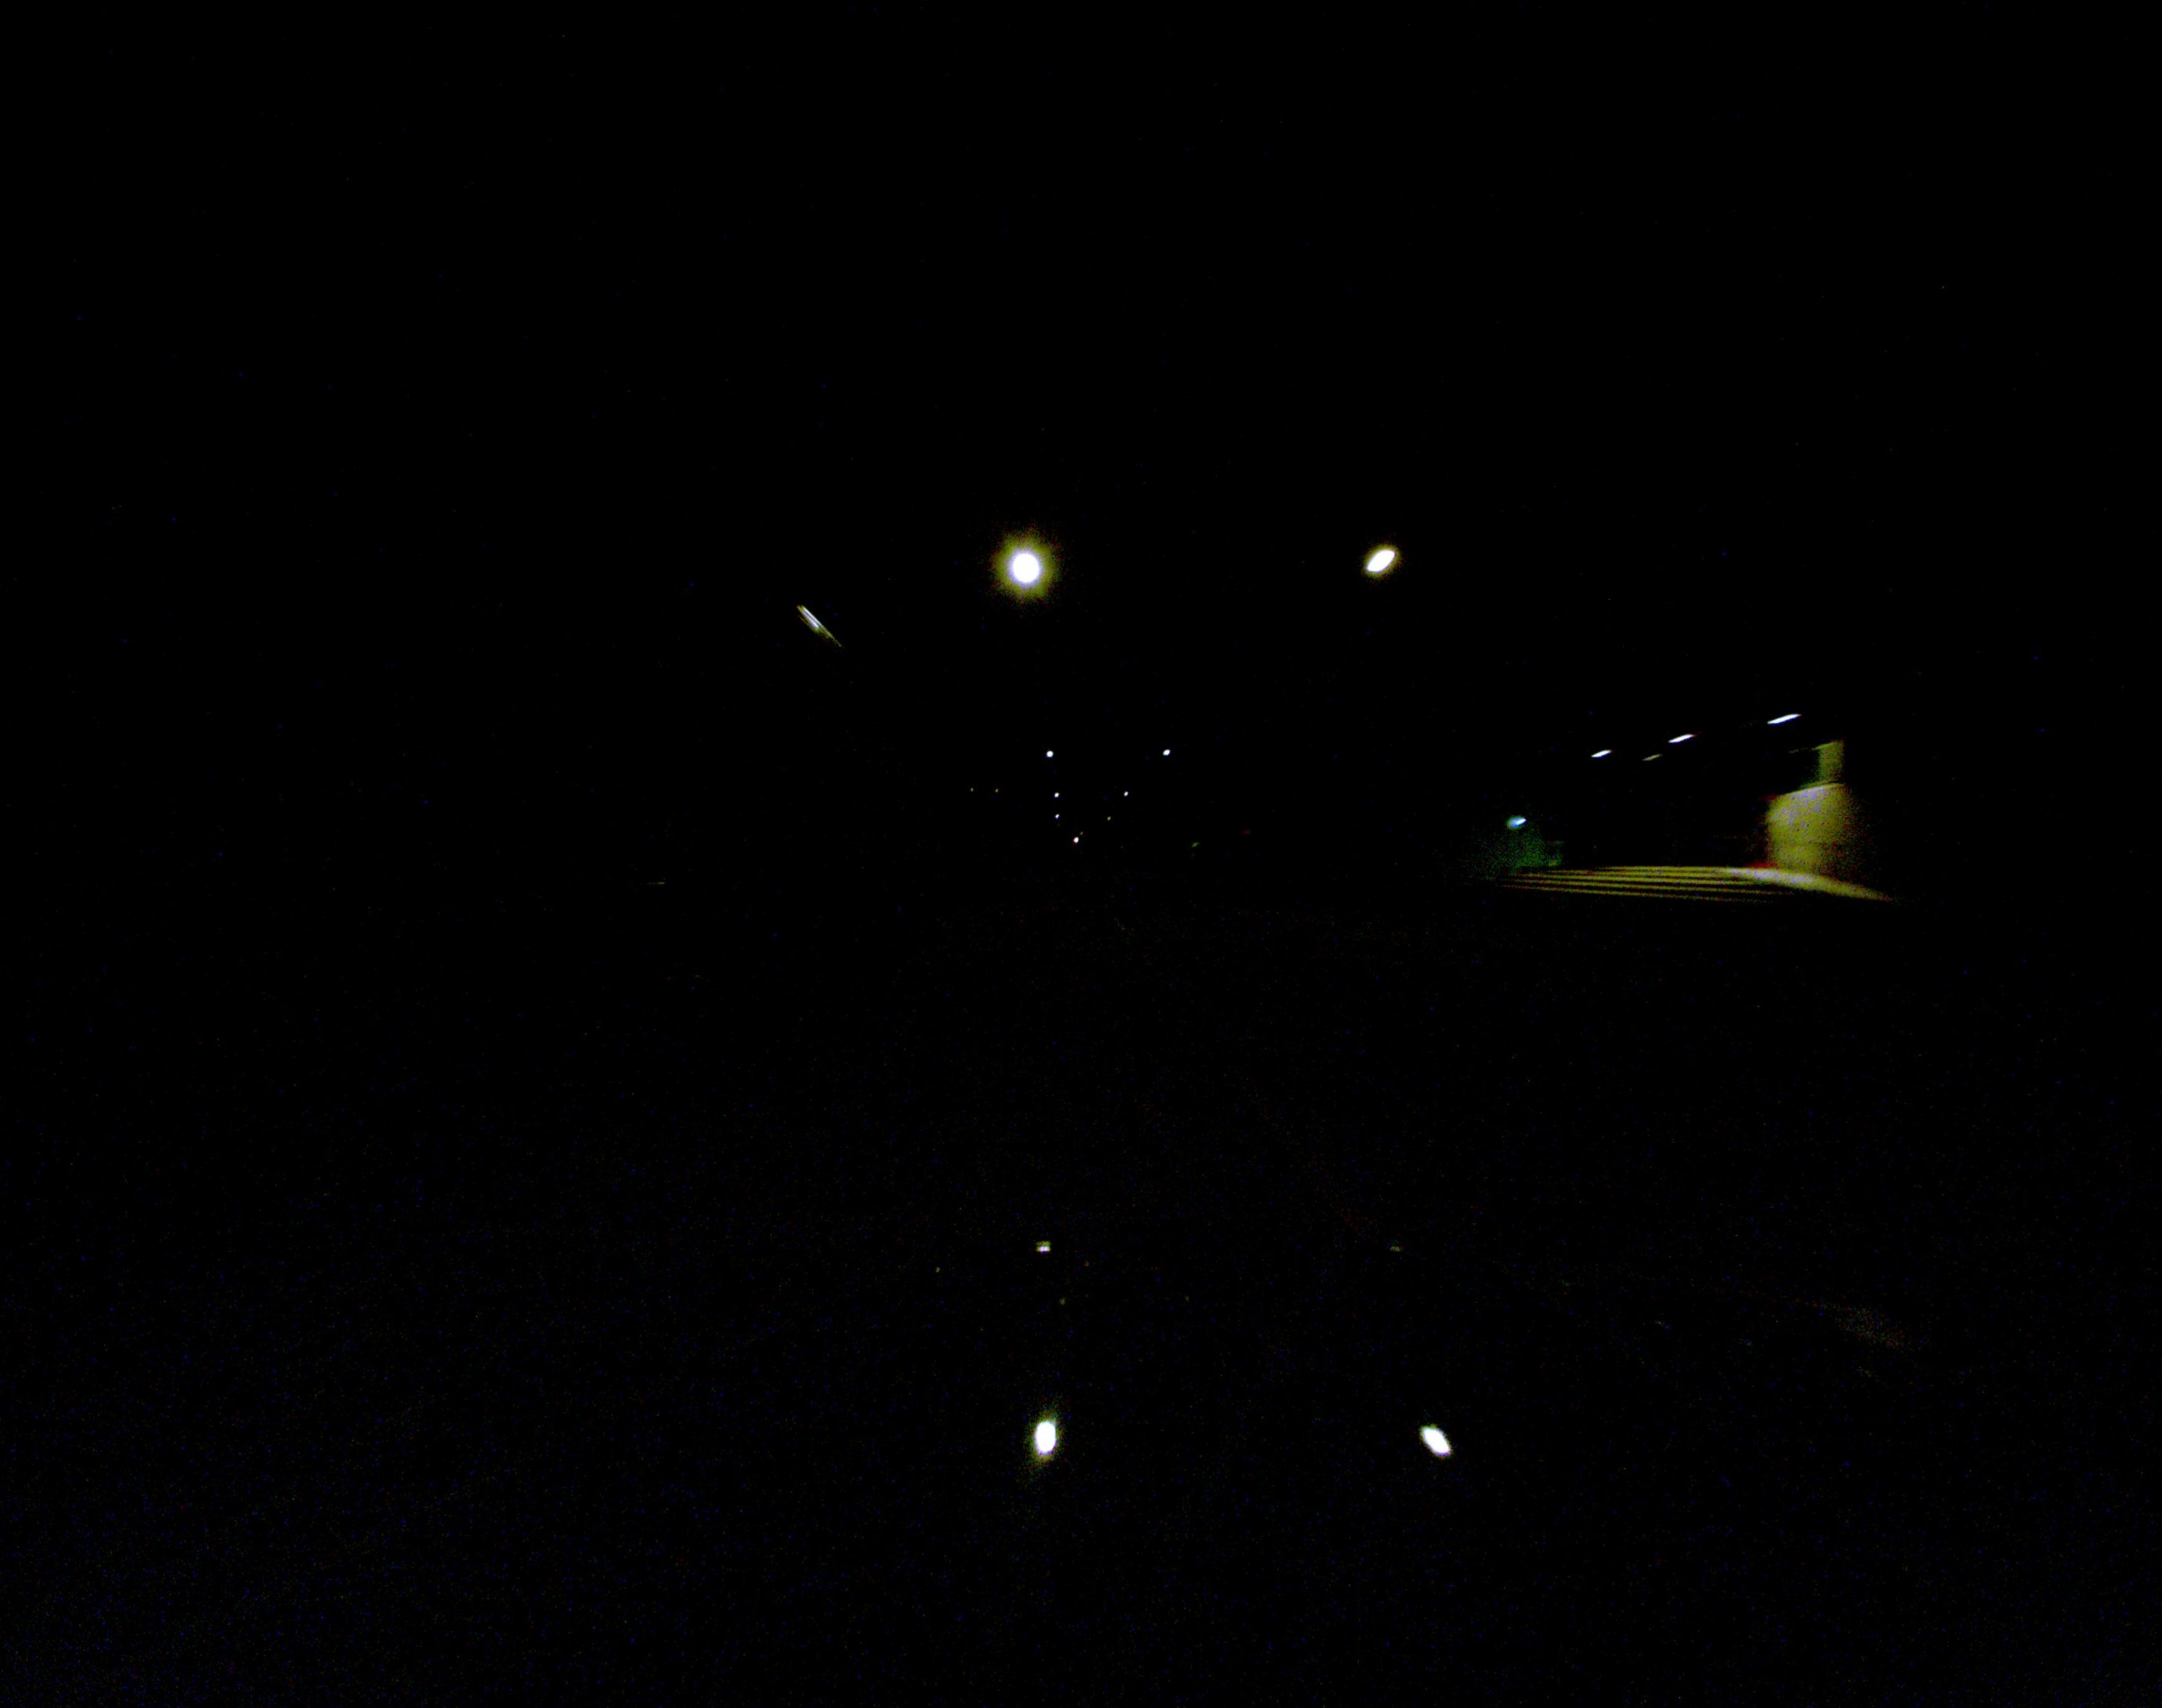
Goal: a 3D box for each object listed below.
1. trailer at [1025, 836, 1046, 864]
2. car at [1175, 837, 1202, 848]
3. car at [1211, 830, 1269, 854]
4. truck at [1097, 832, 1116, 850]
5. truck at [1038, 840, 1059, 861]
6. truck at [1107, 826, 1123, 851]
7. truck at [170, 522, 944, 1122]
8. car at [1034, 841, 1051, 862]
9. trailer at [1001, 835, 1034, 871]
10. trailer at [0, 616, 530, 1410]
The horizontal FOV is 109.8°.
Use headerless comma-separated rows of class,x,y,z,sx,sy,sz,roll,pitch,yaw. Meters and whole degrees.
trailer,-5.587,-0.472,93.510,2.405,3.306,4.360,-1,1,-4
car,17.555,-1.824,124.196,3.998,1.455,1.805,-4,1,-4
car,13.448,-1.005,64.305,4.444,1.961,1.999,-1,1,-2
truck,5.457,-2.770,165.487,2.830,3.610,10.395,-1,1,-5
truck,-6.134,-0.657,145.566,2.515,3.815,12.660,-1,1,4
truck,6.083,-2.809,137.957,2.644,4.290,12.821,1,1,1
truck,-4.207,-0.294,9.610,3.333,3.846,9.324,-1,1,-1
car,-5.013,-0.352,99.924,1.946,2.533,6.644,-1,1,-1
trailer,-4.862,-0.111,58.427,1.998,2.636,4.000,-1,1,2
trailer,-4.171,0.504,2.086,1.636,2.459,5.026,-1,1,-1
